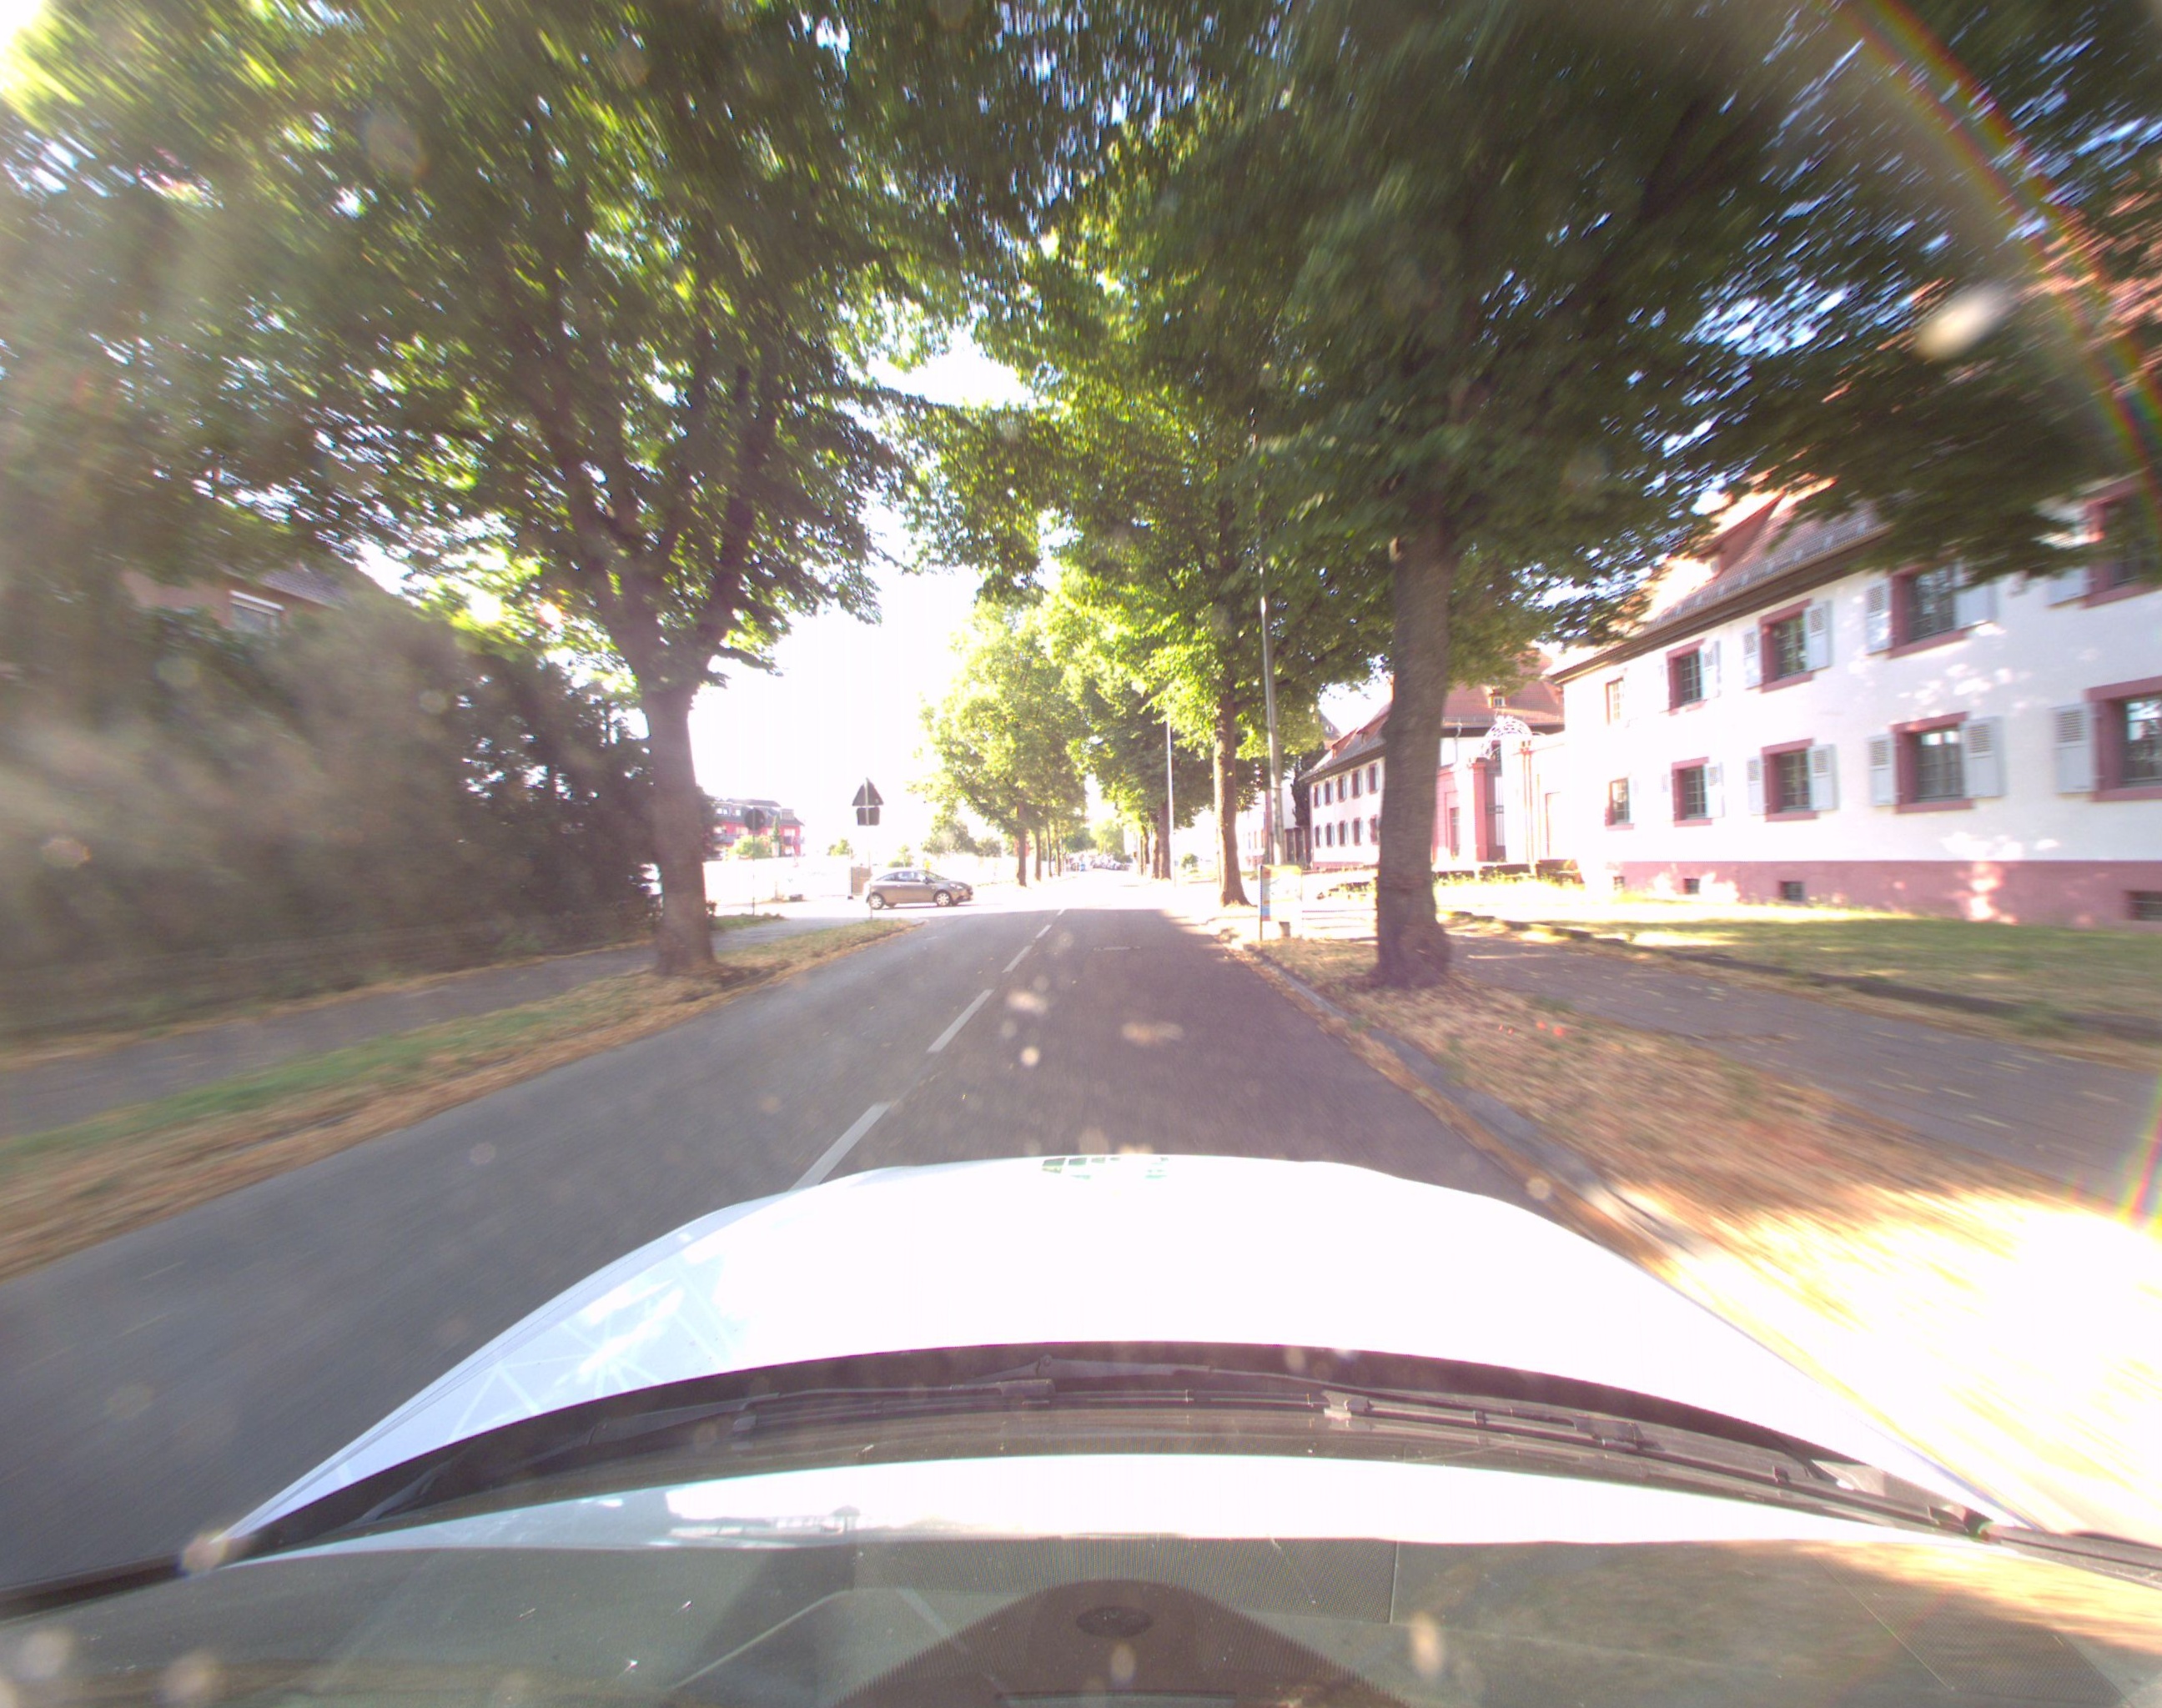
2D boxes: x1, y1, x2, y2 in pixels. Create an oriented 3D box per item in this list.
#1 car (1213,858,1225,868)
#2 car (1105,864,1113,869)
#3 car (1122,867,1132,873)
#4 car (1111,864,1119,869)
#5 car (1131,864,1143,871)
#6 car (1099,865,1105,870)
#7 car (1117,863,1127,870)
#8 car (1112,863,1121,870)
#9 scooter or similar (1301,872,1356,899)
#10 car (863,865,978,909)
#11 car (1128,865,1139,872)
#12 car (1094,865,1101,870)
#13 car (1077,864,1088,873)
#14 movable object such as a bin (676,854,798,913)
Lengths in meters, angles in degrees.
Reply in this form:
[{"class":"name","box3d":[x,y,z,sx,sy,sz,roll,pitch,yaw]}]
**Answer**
[{"class":"car","box3d":[24.194,1.559,142.533,1.804,1.559,3.629,0,-2,4]},{"class":"car","box3d":[7.781,3.562,226.848,1.836,1.386,3.997,-3,-1,-1]},{"class":"car","box3d":[9.337,3.242,165.126,1.834,1.261,4.001,-3,-1,2]},{"class":"car","box3d":[8.568,3.147,206.133,1.836,1.386,3.998,-2,0,-1]},{"class":"car","box3d":[10.165,2.455,147.810,1.834,1.261,4.001,-3,-1,2]},{"class":"car","box3d":[6.601,4.155,256.403,1.837,1.386,3.995,-2,-1,-3]},{"class":"car","box3d":[9.198,2.760,183.320,1.835,1.386,3.999,-2,0,0]},{"class":"car","box3d":[8.556,2.995,194.529,1.836,1.386,3.997,-3,-1,-1]},{"class":"scooter or similar","box3d":[7.122,0.900,23.538,1.221,0.548,1.064,-11,-1,1]},{"class":"car","box3d":[-5.886,1.202,30.082,3.826,1.473,1.653,-2,-1,4]},{"class":"car","box3d":[10.162,2.763,158.063,1.834,1.261,4.002,-4,-1,2]},{"class":"car","box3d":[4.867,4.049,240.030,1.709,1.486,3.997,-3,-1,-1]},{"class":"car","box3d":[0.238,3.004,170.749,1.989,1.688,3.994,-2,-2,-3]},{"class":"movable object such as a bin","box3d":[-33.249,2.731,79.528,2.982,4.993,11.628,-5,-1,24]}]
